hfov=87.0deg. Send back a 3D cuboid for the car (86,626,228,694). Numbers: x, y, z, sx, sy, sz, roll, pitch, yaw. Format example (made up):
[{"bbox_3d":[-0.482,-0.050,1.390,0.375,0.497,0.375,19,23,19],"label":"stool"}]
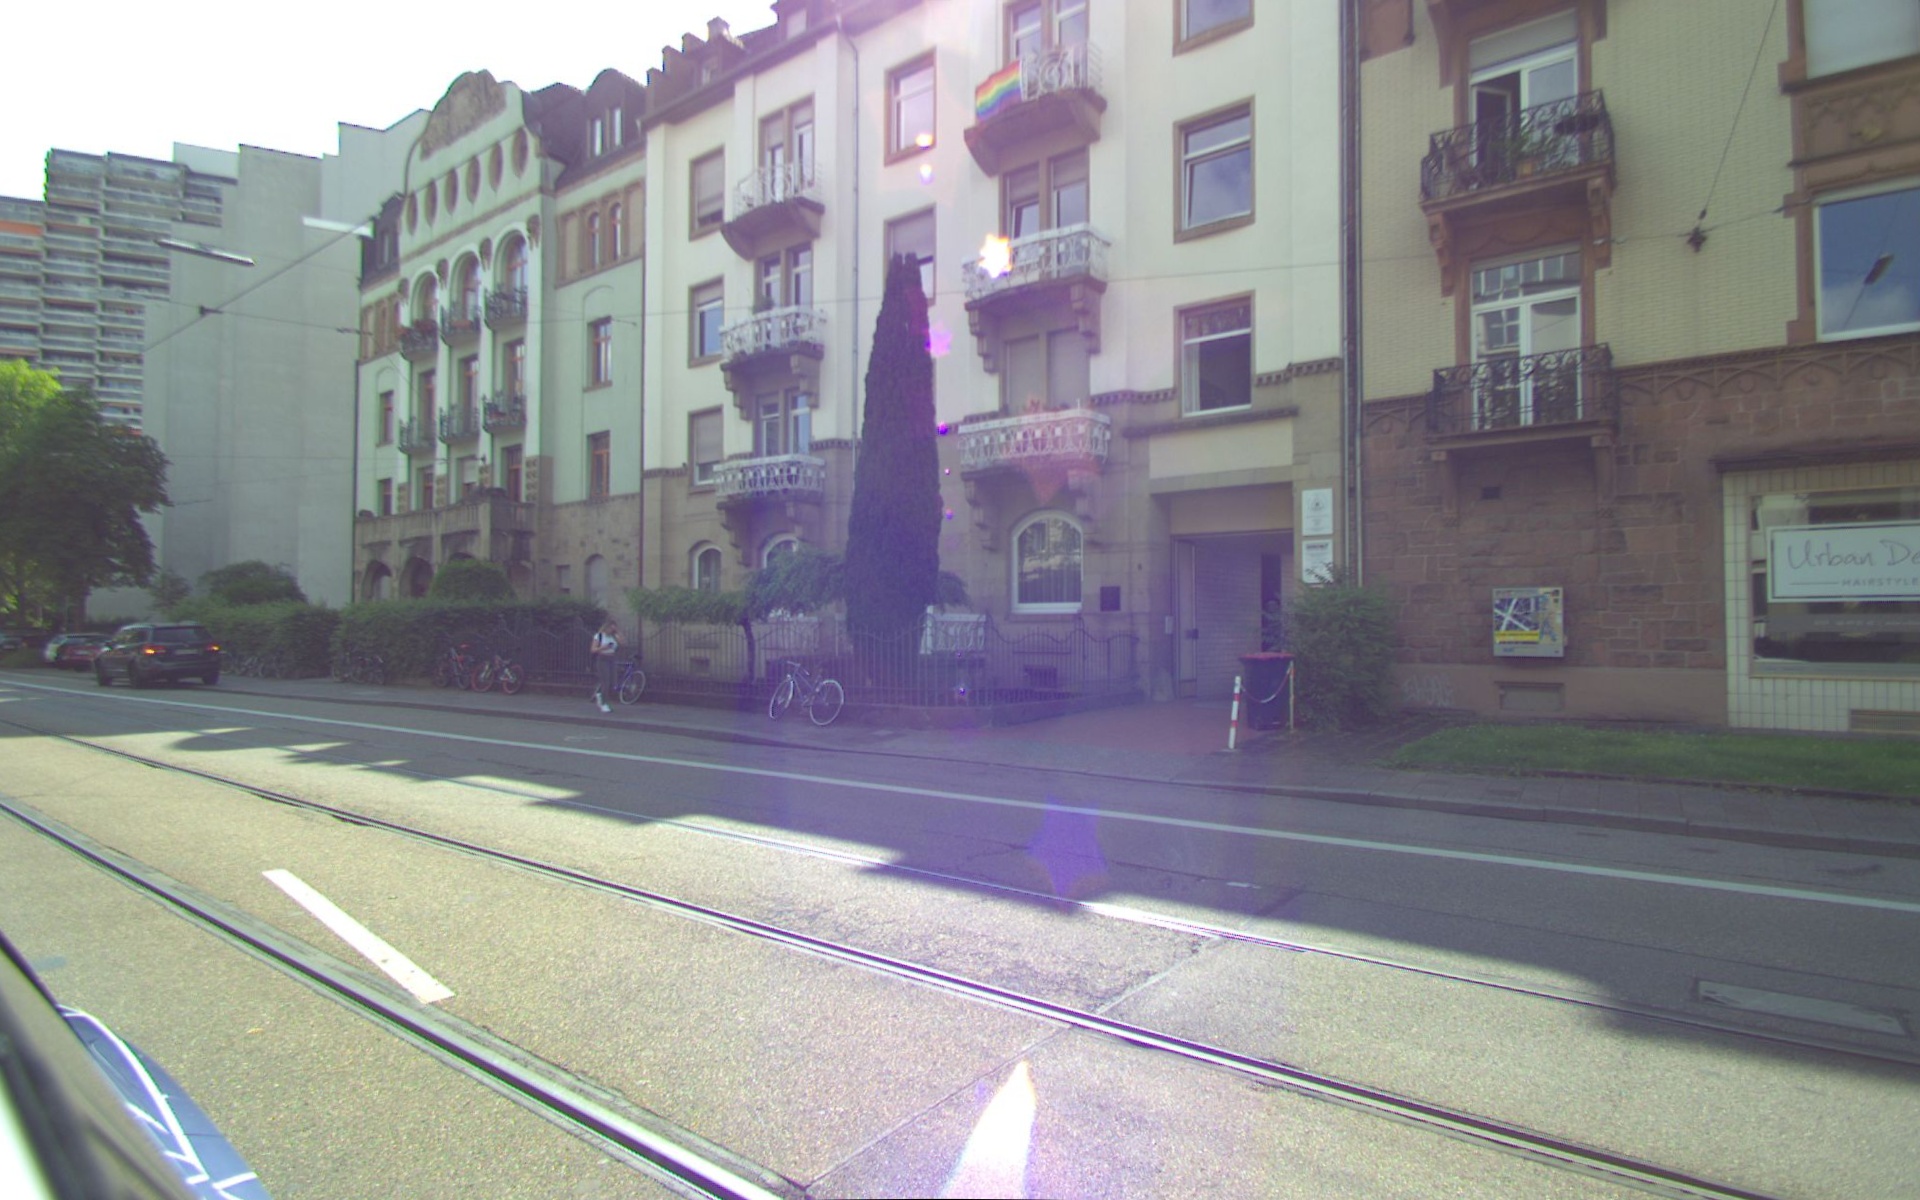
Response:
[{"bbox_3d":[-21.967,1.584,27.637,4.393,1.708,1.899,-1,-2,36],"label":"car"}]

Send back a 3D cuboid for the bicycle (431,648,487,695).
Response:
[{"bbox_3d":[-11.404,1.610,23.015,1.785,1.003,0.462,-2,-3,40],"label":"bicycle"}]

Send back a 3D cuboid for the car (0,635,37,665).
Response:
[{"bbox_3d":[-50.993,2.618,52.958,3.938,1.519,2.002,2,-3,-42],"label":"car"}]

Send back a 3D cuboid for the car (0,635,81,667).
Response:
[{"bbox_3d":[-45.627,2.487,49.513,3.938,1.519,2.002,2,-3,-42],"label":"car"}]

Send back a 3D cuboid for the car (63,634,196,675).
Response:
[{"bbox_3d":[-32.595,2.104,39.771,3.938,1.519,2.002,2,-3,-42],"label":"car"}]

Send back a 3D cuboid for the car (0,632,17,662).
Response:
[{"bbox_3d":[-56.072,2.684,57.221,3.938,1.695,2.002,2,-3,-42],"label":"car"}]

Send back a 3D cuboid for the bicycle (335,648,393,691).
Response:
[{"bbox_3d":[-14.872,1.721,25.235,1.979,1.003,0.597,-2,-3,40],"label":"bicycle"}]

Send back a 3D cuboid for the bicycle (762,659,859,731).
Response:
[{"bbox_3d":[-2.347,1.446,15.731,0.461,1.003,1.980,2,-3,-43],"label":"bicycle"}]

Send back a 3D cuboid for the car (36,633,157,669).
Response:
[{"bbox_3d":[-37.872,2.195,44.452,3.938,1.519,2.002,2,-3,-42],"label":"car"}]

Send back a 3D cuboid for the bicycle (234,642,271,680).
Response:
[{"bbox_3d":[-21.747,1.860,31.116,1.785,1.144,0.462,-2,-3,40],"label":"bicycle"}]

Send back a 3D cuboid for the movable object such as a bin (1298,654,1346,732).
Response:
[{"bbox_3d":[4.993,1.268,13.970,0.531,1.037,0.475,0,-2,11],"label":"movable object such as a bin"}]

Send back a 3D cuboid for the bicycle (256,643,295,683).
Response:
[{"bbox_3d":[-20.224,1.838,29.910,1.785,1.144,0.462,-2,-3,40],"label":"bicycle"}]

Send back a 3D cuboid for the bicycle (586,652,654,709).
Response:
[{"bbox_3d":[-6.411,1.488,19.043,0.461,1.003,1.788,2,-3,-45],"label":"bicycle"}]

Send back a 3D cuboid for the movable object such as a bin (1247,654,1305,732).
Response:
[{"bbox_3d":[4.359,1.273,14.003,0.697,1.037,0.475,0,-2,11],"label":"movable object such as a bin"}]

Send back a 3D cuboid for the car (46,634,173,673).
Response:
[{"bbox_3d":[-35.272,2.193,42.032,3.938,1.519,2.002,2,-3,-42],"label":"car"}]

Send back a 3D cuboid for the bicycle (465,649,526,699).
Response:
[{"bbox_3d":[-9.991,1.571,21.748,1.785,1.003,0.462,-2,-3,40],"label":"bicycle"}]

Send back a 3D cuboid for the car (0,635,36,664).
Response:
[{"bbox_3d":[-53.177,2.698,55.266,3.938,1.519,2.002,2,-3,-42],"label":"car"}]

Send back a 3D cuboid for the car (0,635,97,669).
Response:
[{"bbox_3d":[-43.177,2.404,47.529,3.938,1.519,2.002,2,-3,-42],"label":"car"}]

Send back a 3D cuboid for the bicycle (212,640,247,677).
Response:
[{"bbox_3d":[-23.399,1.860,32.409,1.785,1.144,0.462,-2,-3,40],"label":"bicycle"}]

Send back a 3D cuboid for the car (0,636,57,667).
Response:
[{"bbox_3d":[-48.305,2.582,51.169,3.938,1.519,2.002,2,-3,-42],"label":"car"}]

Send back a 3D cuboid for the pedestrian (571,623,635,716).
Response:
[{"bbox_3d":[-6.202,1.187,17.596,0.764,1.553,0.749,-2,-3,39],"label":"pedestrian"}]
